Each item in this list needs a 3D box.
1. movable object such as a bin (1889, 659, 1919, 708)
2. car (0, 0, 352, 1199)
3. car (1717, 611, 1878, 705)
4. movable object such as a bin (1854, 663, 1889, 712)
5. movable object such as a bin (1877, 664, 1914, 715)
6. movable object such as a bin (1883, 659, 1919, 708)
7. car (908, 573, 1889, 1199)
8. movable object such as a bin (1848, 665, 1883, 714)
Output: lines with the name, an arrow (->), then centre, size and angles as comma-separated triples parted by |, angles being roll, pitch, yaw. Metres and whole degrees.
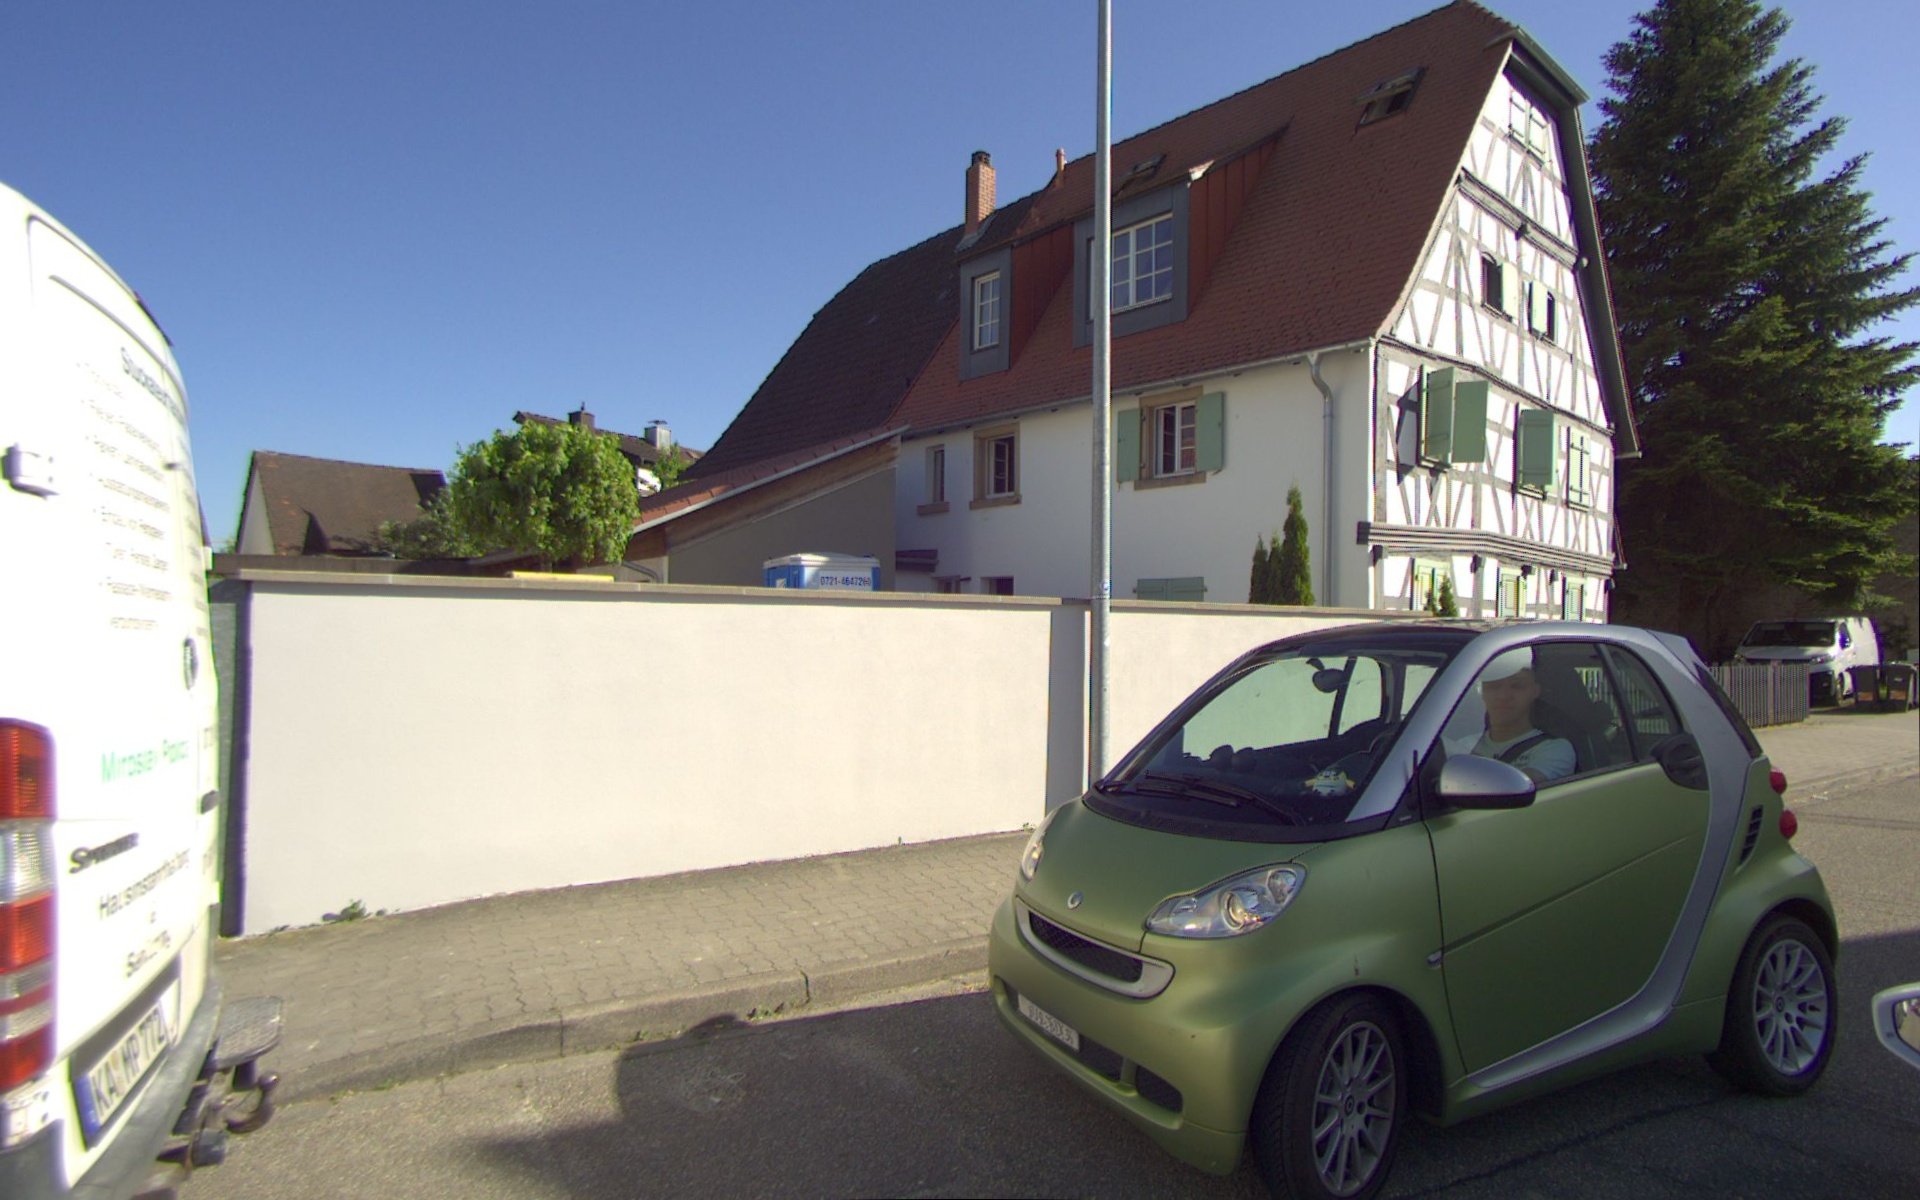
movable object such as a bin -> 19.111, 1.676, 20.286 | 0.486, 0.936, 0.417 | -2, -1, -37
car -> -4.241, 0.273, 1.095 | 5.992, 2.421, 2.188 | 1, -3, -30
car -> 19.551, 1.256, 23.367 | 5.097, 1.981, 1.925 | 1, -1, -39
movable object such as a bin -> 18.450, 1.768, 20.326 | 0.486, 0.936, 0.417 | -2, -1, -37
movable object such as a bin -> 18.316, 1.749, 19.664 | 0.486, 0.936, 0.436 | -2, -1, -37
movable object such as a bin -> 18.709, 1.651, 19.980 | 0.486, 0.936, 0.425 | -2, -1, -37
car -> 1.454, 0.785, 3.513 | 2.924, 1.567, 1.571 | 1, -3, -24
movable object such as a bin -> 18.049, 1.772, 20.024 | 0.486, 0.936, 0.417 | -2, -1, -37
